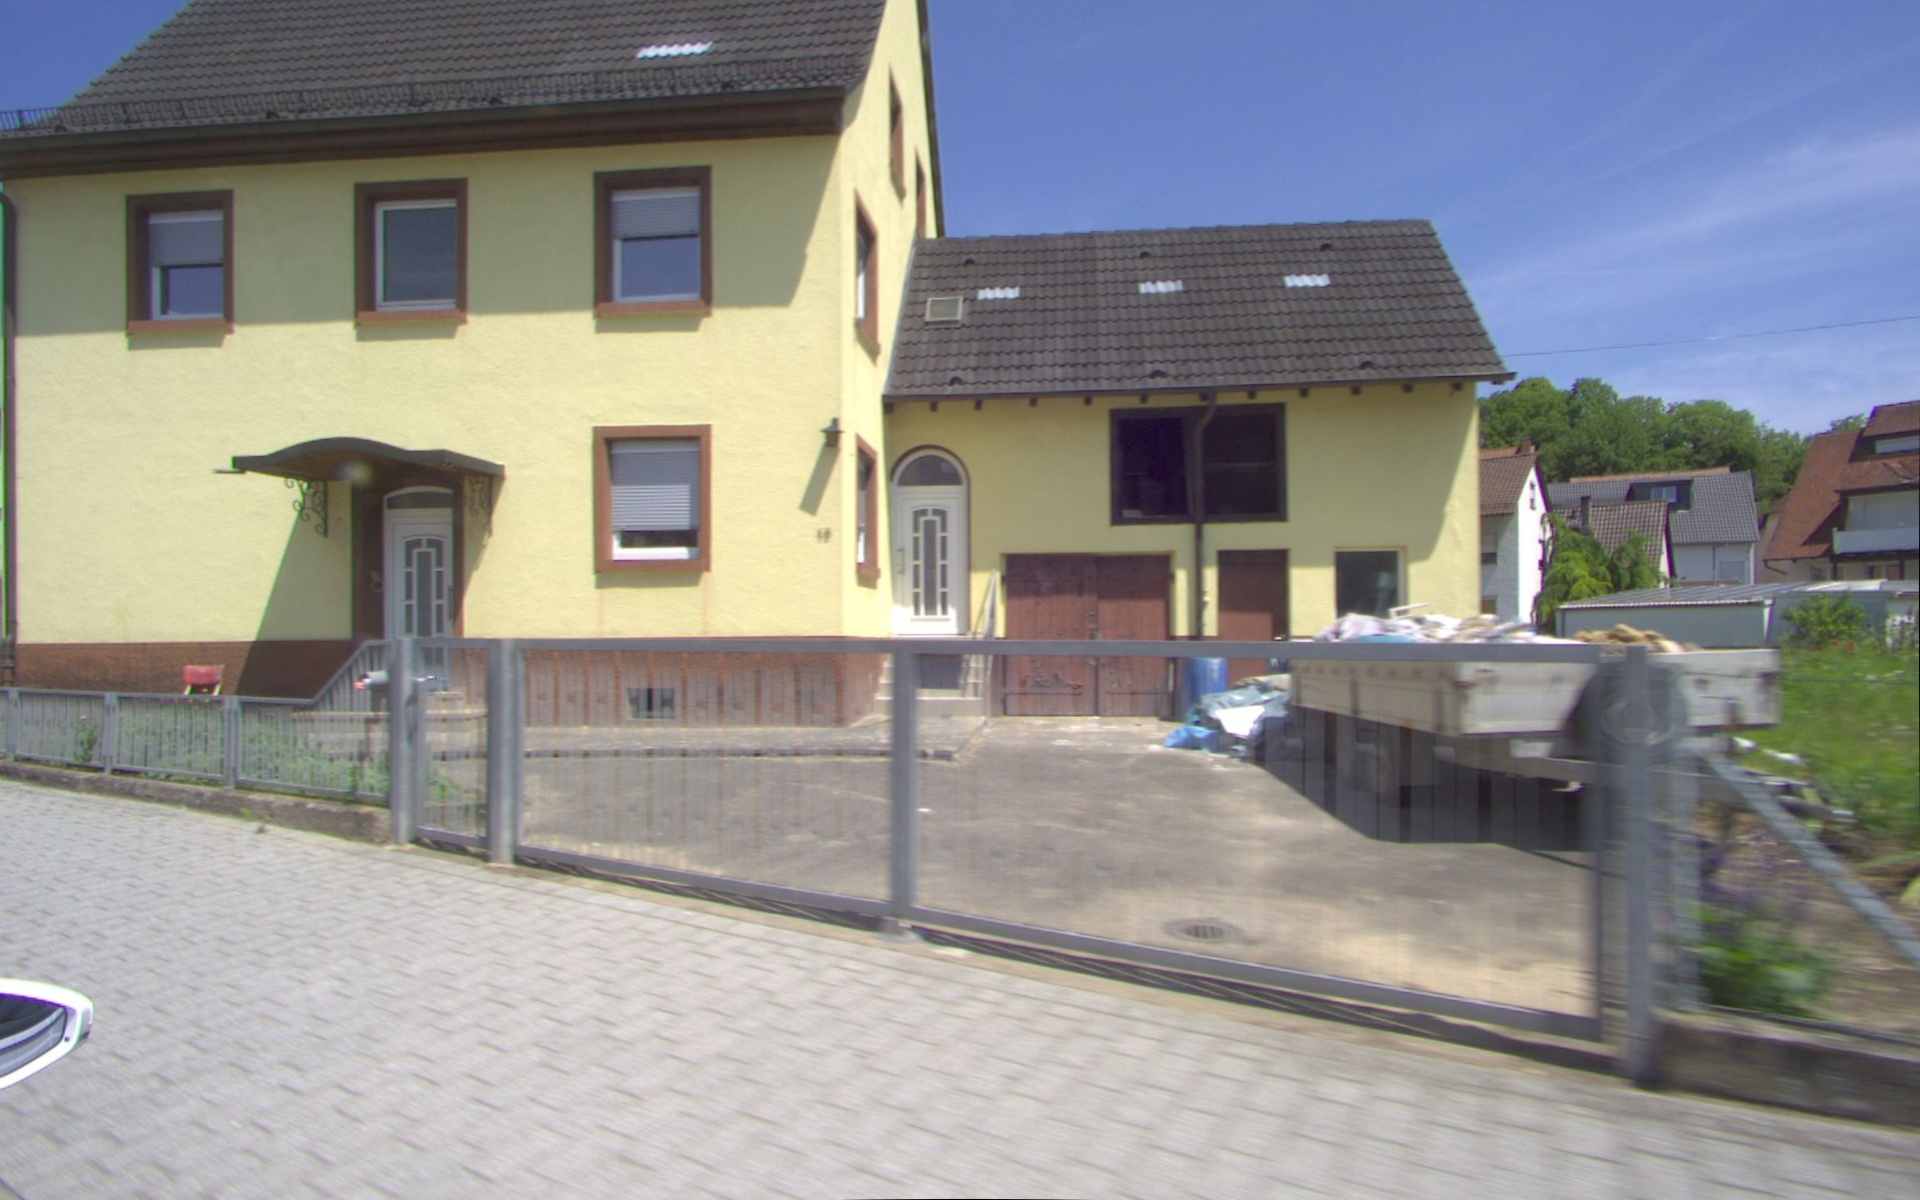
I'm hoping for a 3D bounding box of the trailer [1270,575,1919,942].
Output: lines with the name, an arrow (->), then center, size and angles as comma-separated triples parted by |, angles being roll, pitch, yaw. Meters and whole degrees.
trailer -> 3.959, 0.805, 6.982 | 2.097, 1.565, 5.368 | 0, -3, 2
